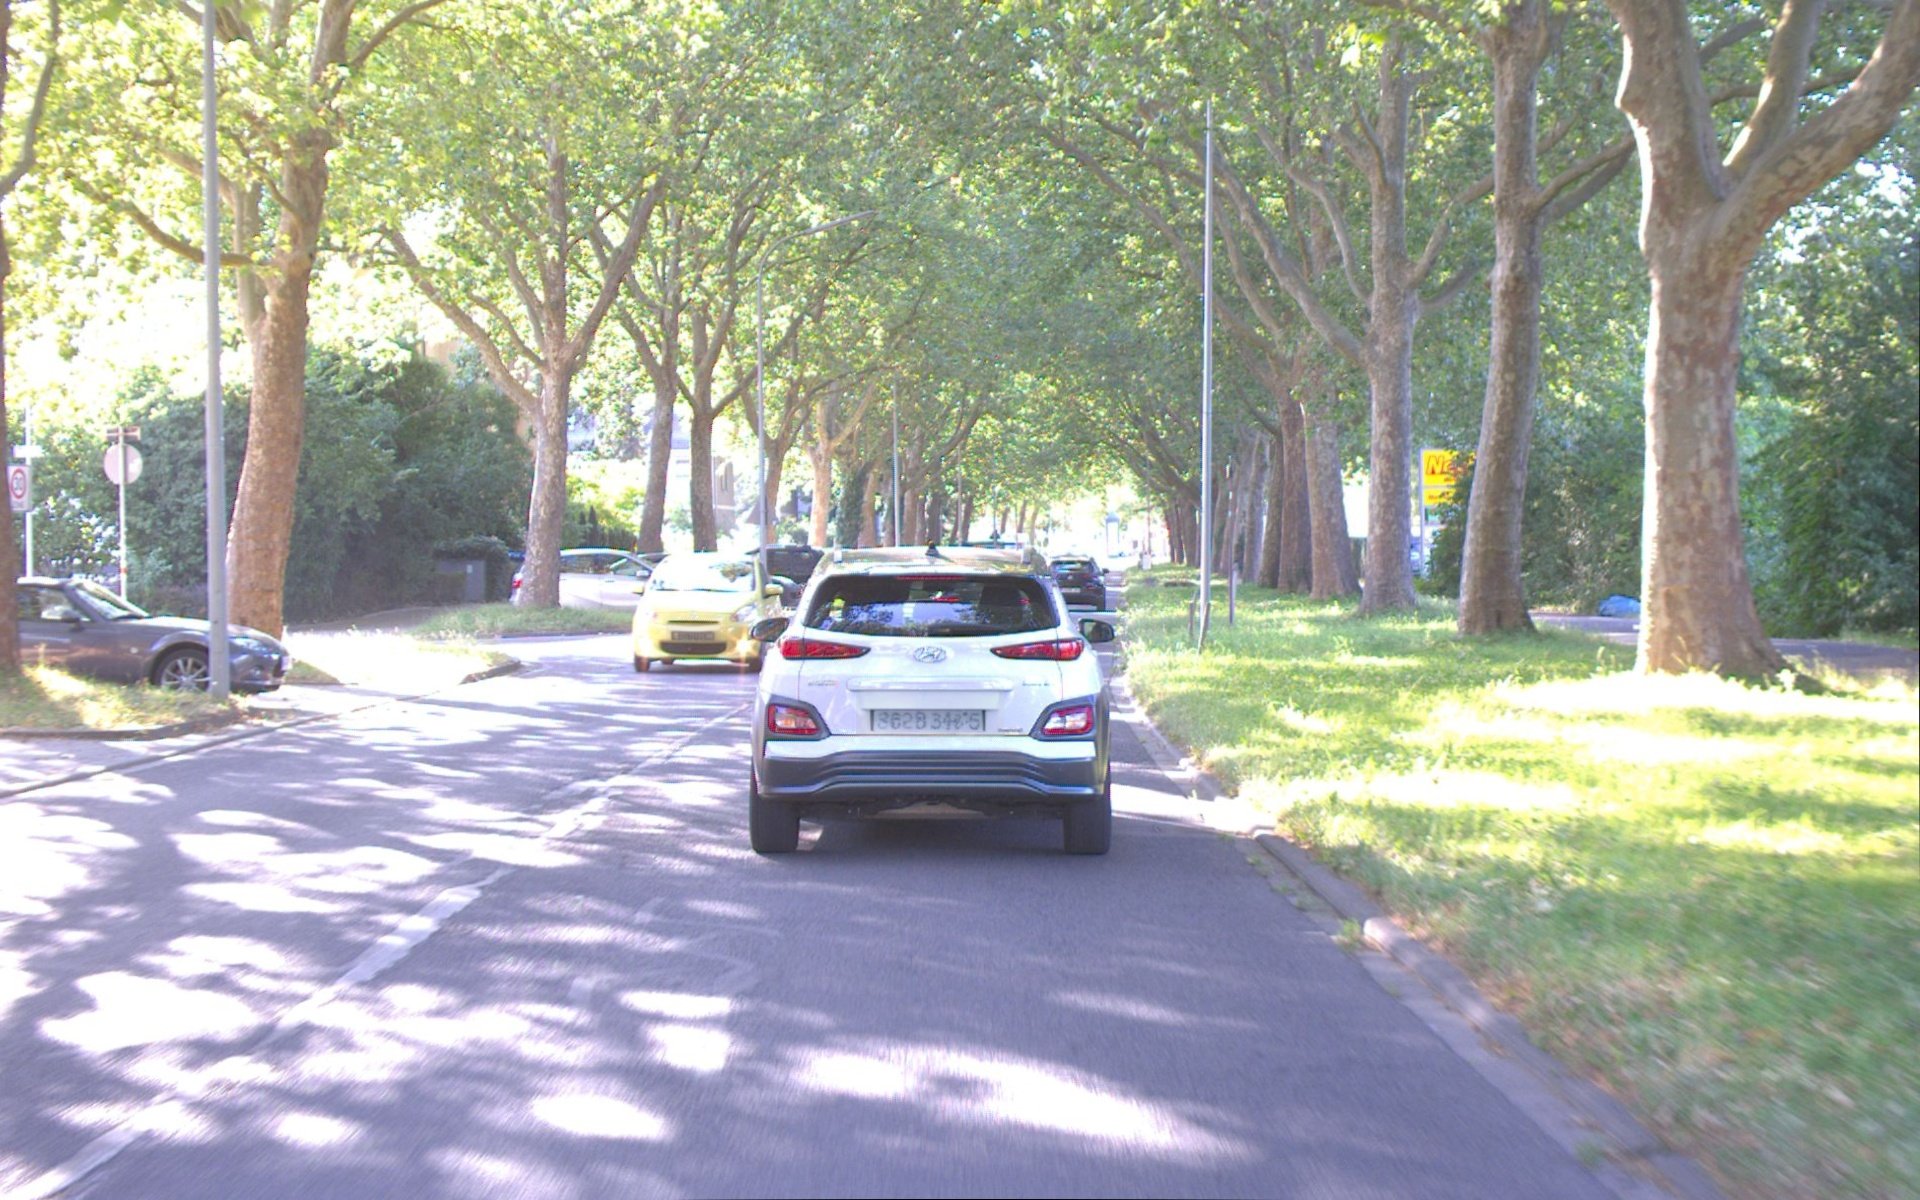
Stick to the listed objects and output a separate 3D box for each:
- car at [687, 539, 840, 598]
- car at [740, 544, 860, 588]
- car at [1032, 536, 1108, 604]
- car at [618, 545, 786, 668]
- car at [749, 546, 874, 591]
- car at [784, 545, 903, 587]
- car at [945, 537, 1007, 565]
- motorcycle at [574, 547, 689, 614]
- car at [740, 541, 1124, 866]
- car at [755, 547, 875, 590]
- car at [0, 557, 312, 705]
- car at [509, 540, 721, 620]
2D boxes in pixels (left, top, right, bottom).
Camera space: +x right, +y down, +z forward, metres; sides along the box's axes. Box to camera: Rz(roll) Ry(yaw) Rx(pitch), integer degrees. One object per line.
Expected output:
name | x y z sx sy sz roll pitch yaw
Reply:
car | -5.647 -0.908 99.166 4.244 1.674 1.671 0 1 3
car | -5.474 -1.178 118.115 3.987 1.515 1.809 0 1 2
car | 2.786 -0.782 87.719 1.676 1.690 3.745 0 1 -2
car | -3.264 0.060 44.163 1.784 1.507 3.838 0 1 1
car | -4.865 -1.051 112.796 3.987 1.465 1.780 0 1 2
car | -4.079 -1.200 120.418 3.987 1.465 1.809 0 1 4
car | 1.026 -3.241 226.792 3.986 1.766 2.000 1 0 -2
motorcycle | -6.955 -0.416 72.910 2.385 1.383 0.648 1 2 -2
car | -0.230 0.486 18.564 1.835 1.550 4.000 1 0 -3
car | -4.834 -1.051 115.151 3.987 1.419 1.809 0 1 -1
car | -8.332 0.273 33.097 3.825 1.312 1.790 1 1 0
car | -7.031 -0.416 70.434 4.183 1.579 2.000 0 1 -2
